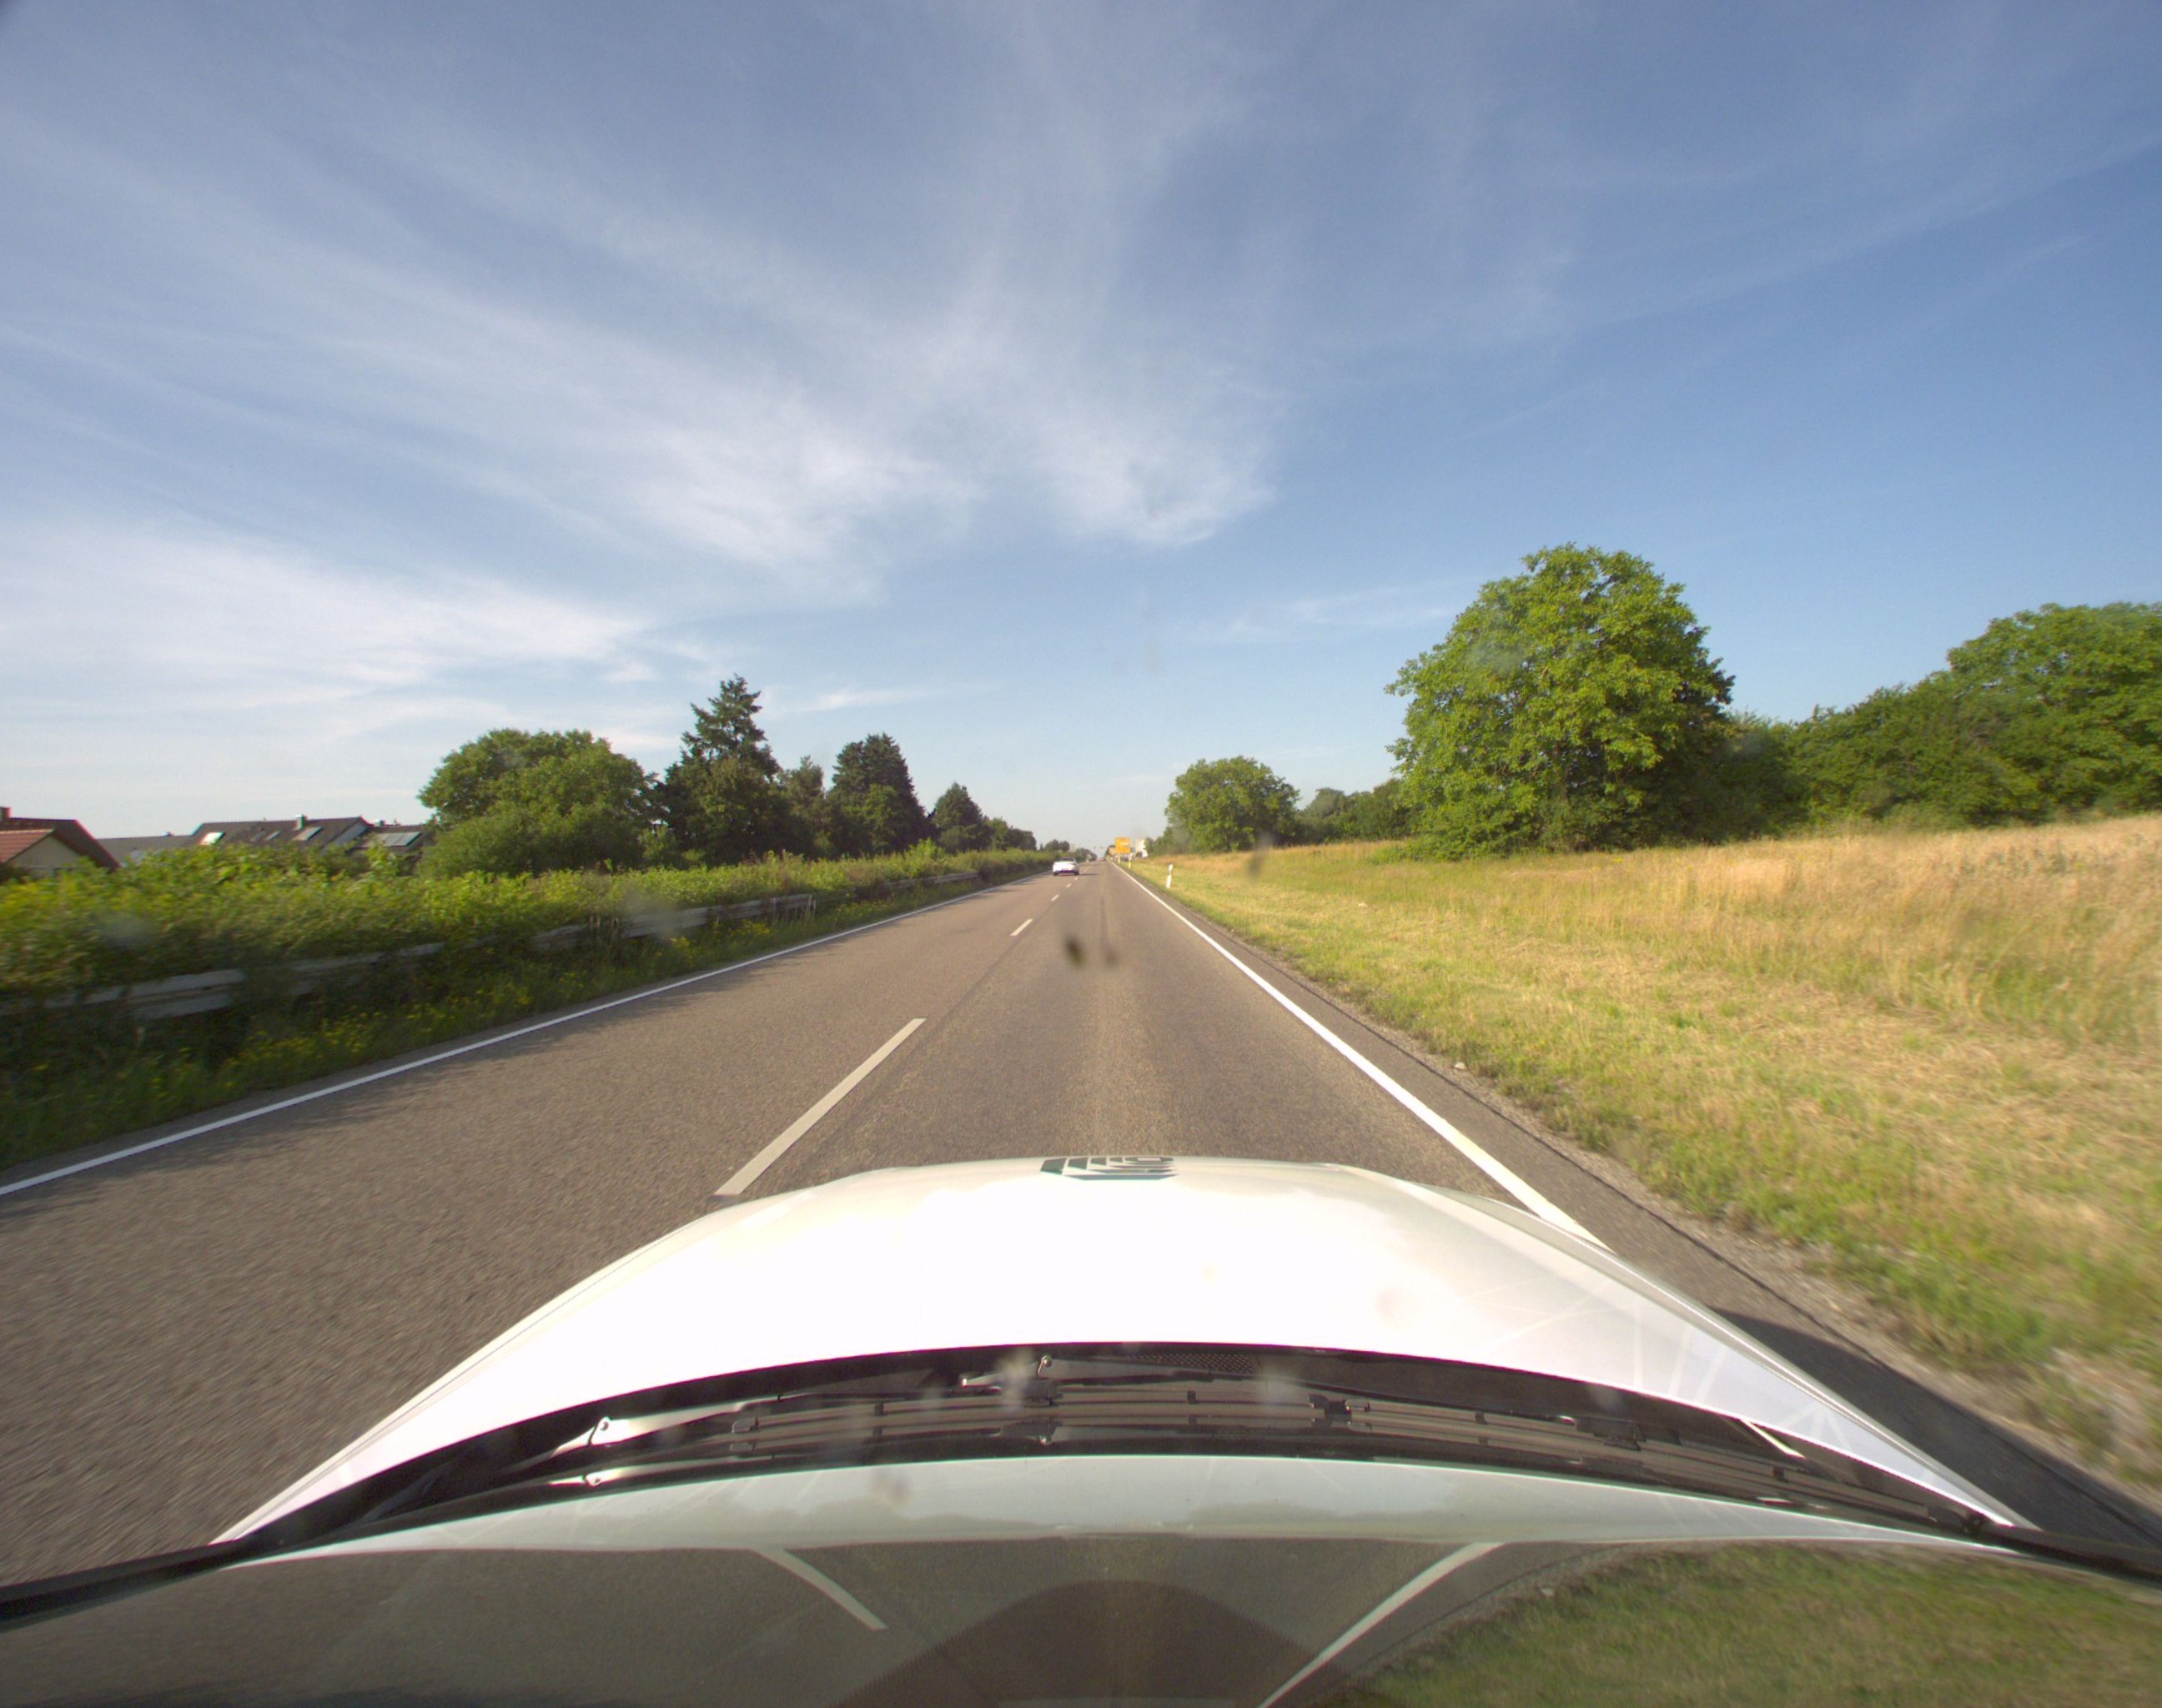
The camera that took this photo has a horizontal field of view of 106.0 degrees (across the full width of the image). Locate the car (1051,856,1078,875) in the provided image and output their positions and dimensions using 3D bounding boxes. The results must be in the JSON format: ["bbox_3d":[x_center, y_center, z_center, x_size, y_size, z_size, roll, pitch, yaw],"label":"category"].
[{"bbox_3d":[-1.217,0.853,62.451,1.903,1.422,4.000,-1,0,1],"label":"car"}]
